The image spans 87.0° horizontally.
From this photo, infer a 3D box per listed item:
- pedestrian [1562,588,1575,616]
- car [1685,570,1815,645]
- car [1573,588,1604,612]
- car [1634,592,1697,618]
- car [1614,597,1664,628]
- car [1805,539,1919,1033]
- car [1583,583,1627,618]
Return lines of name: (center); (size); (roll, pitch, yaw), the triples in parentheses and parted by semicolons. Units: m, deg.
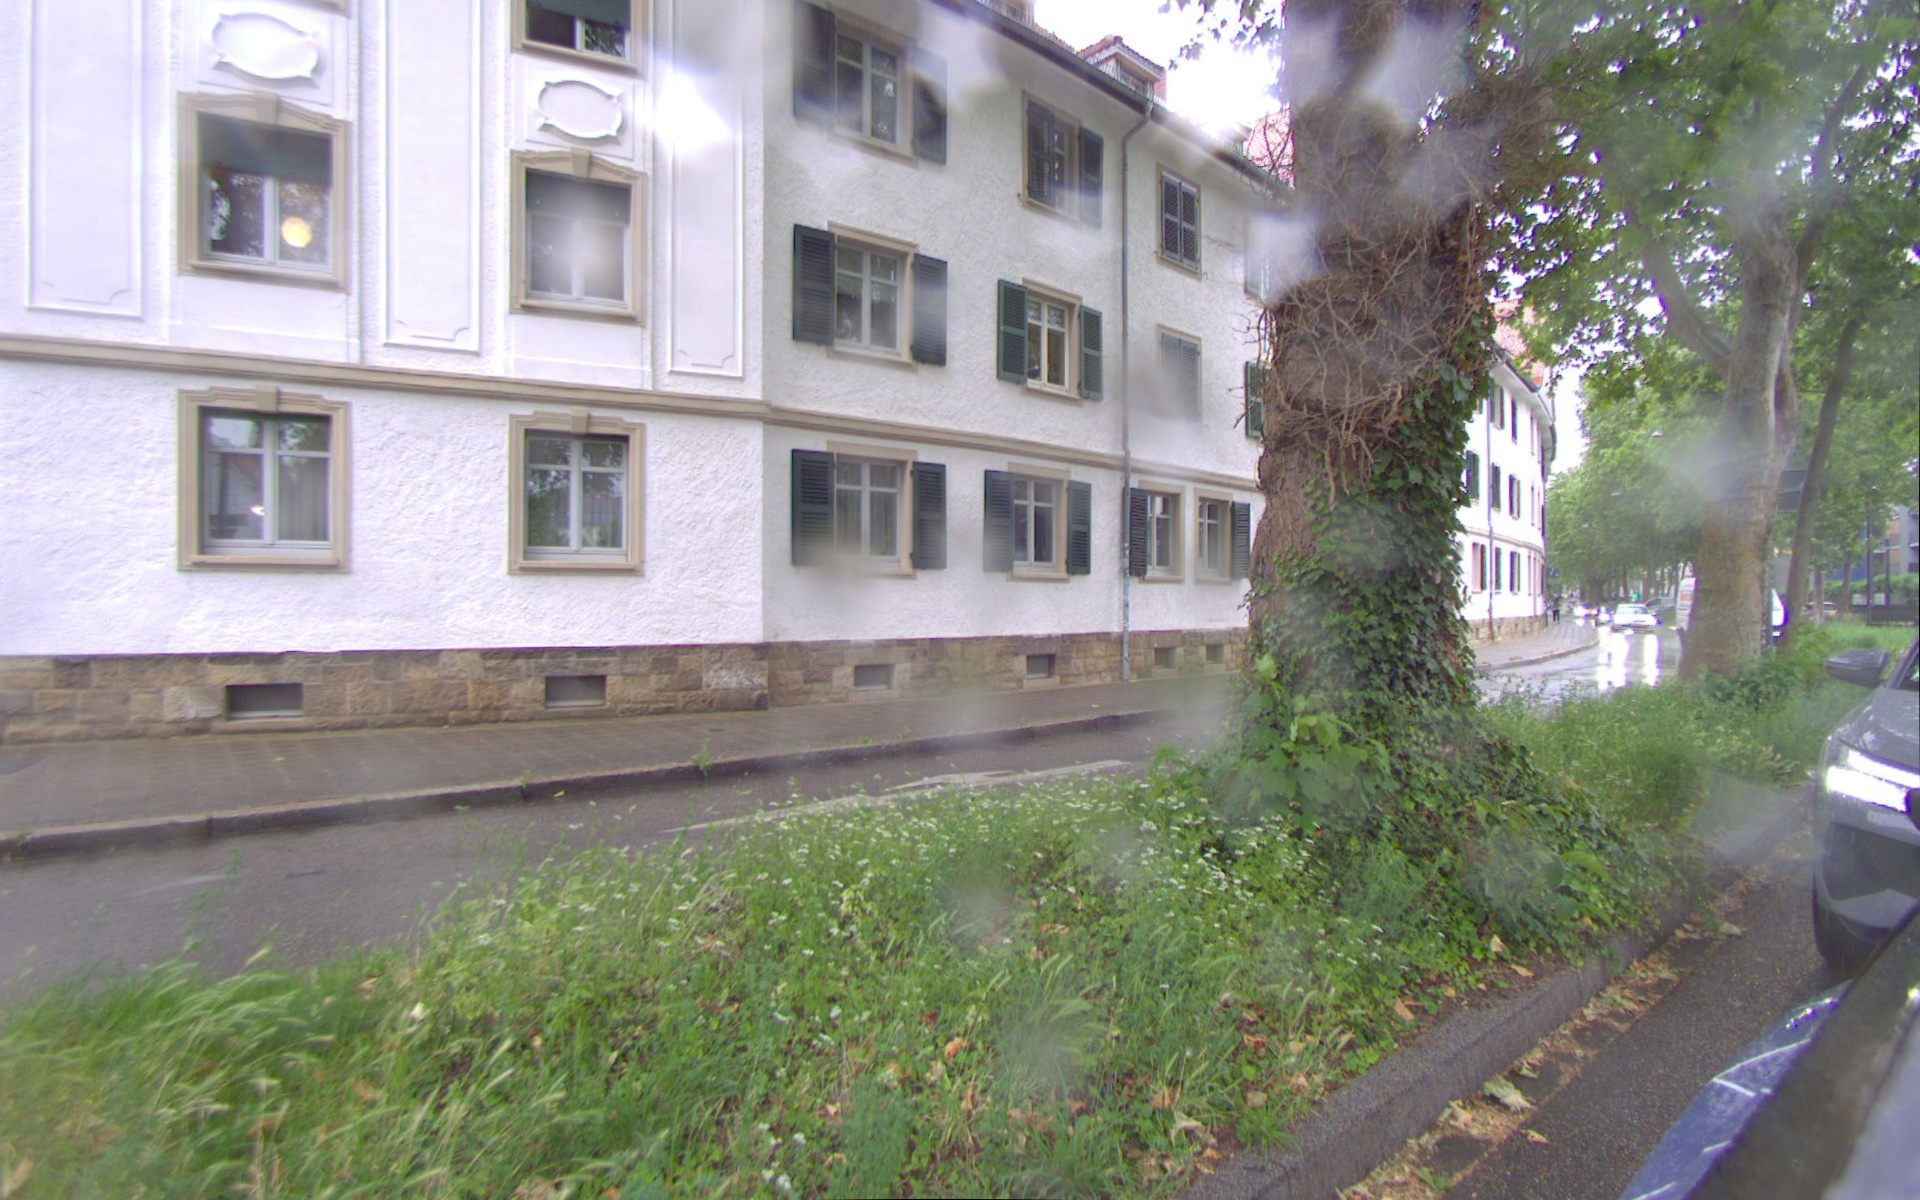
pedestrian: (39.469, 0.135, 65.628); (0.668, 1.845, 0.672); (0, 0, 31)
car: (26.278, 0.216, 33.889); (2.173, 2.292, 5.366); (0, 0, 24)
car: (58.694, 0.014, 94.531); (1.983, 2.038, 3.961); (5, 3, 28)
car: (55.908, 0.372, 80.291); (3.969, 2.039, 1.977); (0, -1, 32)
car: (35.502, 0.613, 53.022); (1.816, 1.545, 3.959); (0, 0, 29)
car: (5.135, 0.615, 4.312); (4.039, 1.662, 1.913); (0, 0, -44)
car: (42.181, 0.001, 66.282); (1.983, 2.038, 3.961); (5, 3, 28)
